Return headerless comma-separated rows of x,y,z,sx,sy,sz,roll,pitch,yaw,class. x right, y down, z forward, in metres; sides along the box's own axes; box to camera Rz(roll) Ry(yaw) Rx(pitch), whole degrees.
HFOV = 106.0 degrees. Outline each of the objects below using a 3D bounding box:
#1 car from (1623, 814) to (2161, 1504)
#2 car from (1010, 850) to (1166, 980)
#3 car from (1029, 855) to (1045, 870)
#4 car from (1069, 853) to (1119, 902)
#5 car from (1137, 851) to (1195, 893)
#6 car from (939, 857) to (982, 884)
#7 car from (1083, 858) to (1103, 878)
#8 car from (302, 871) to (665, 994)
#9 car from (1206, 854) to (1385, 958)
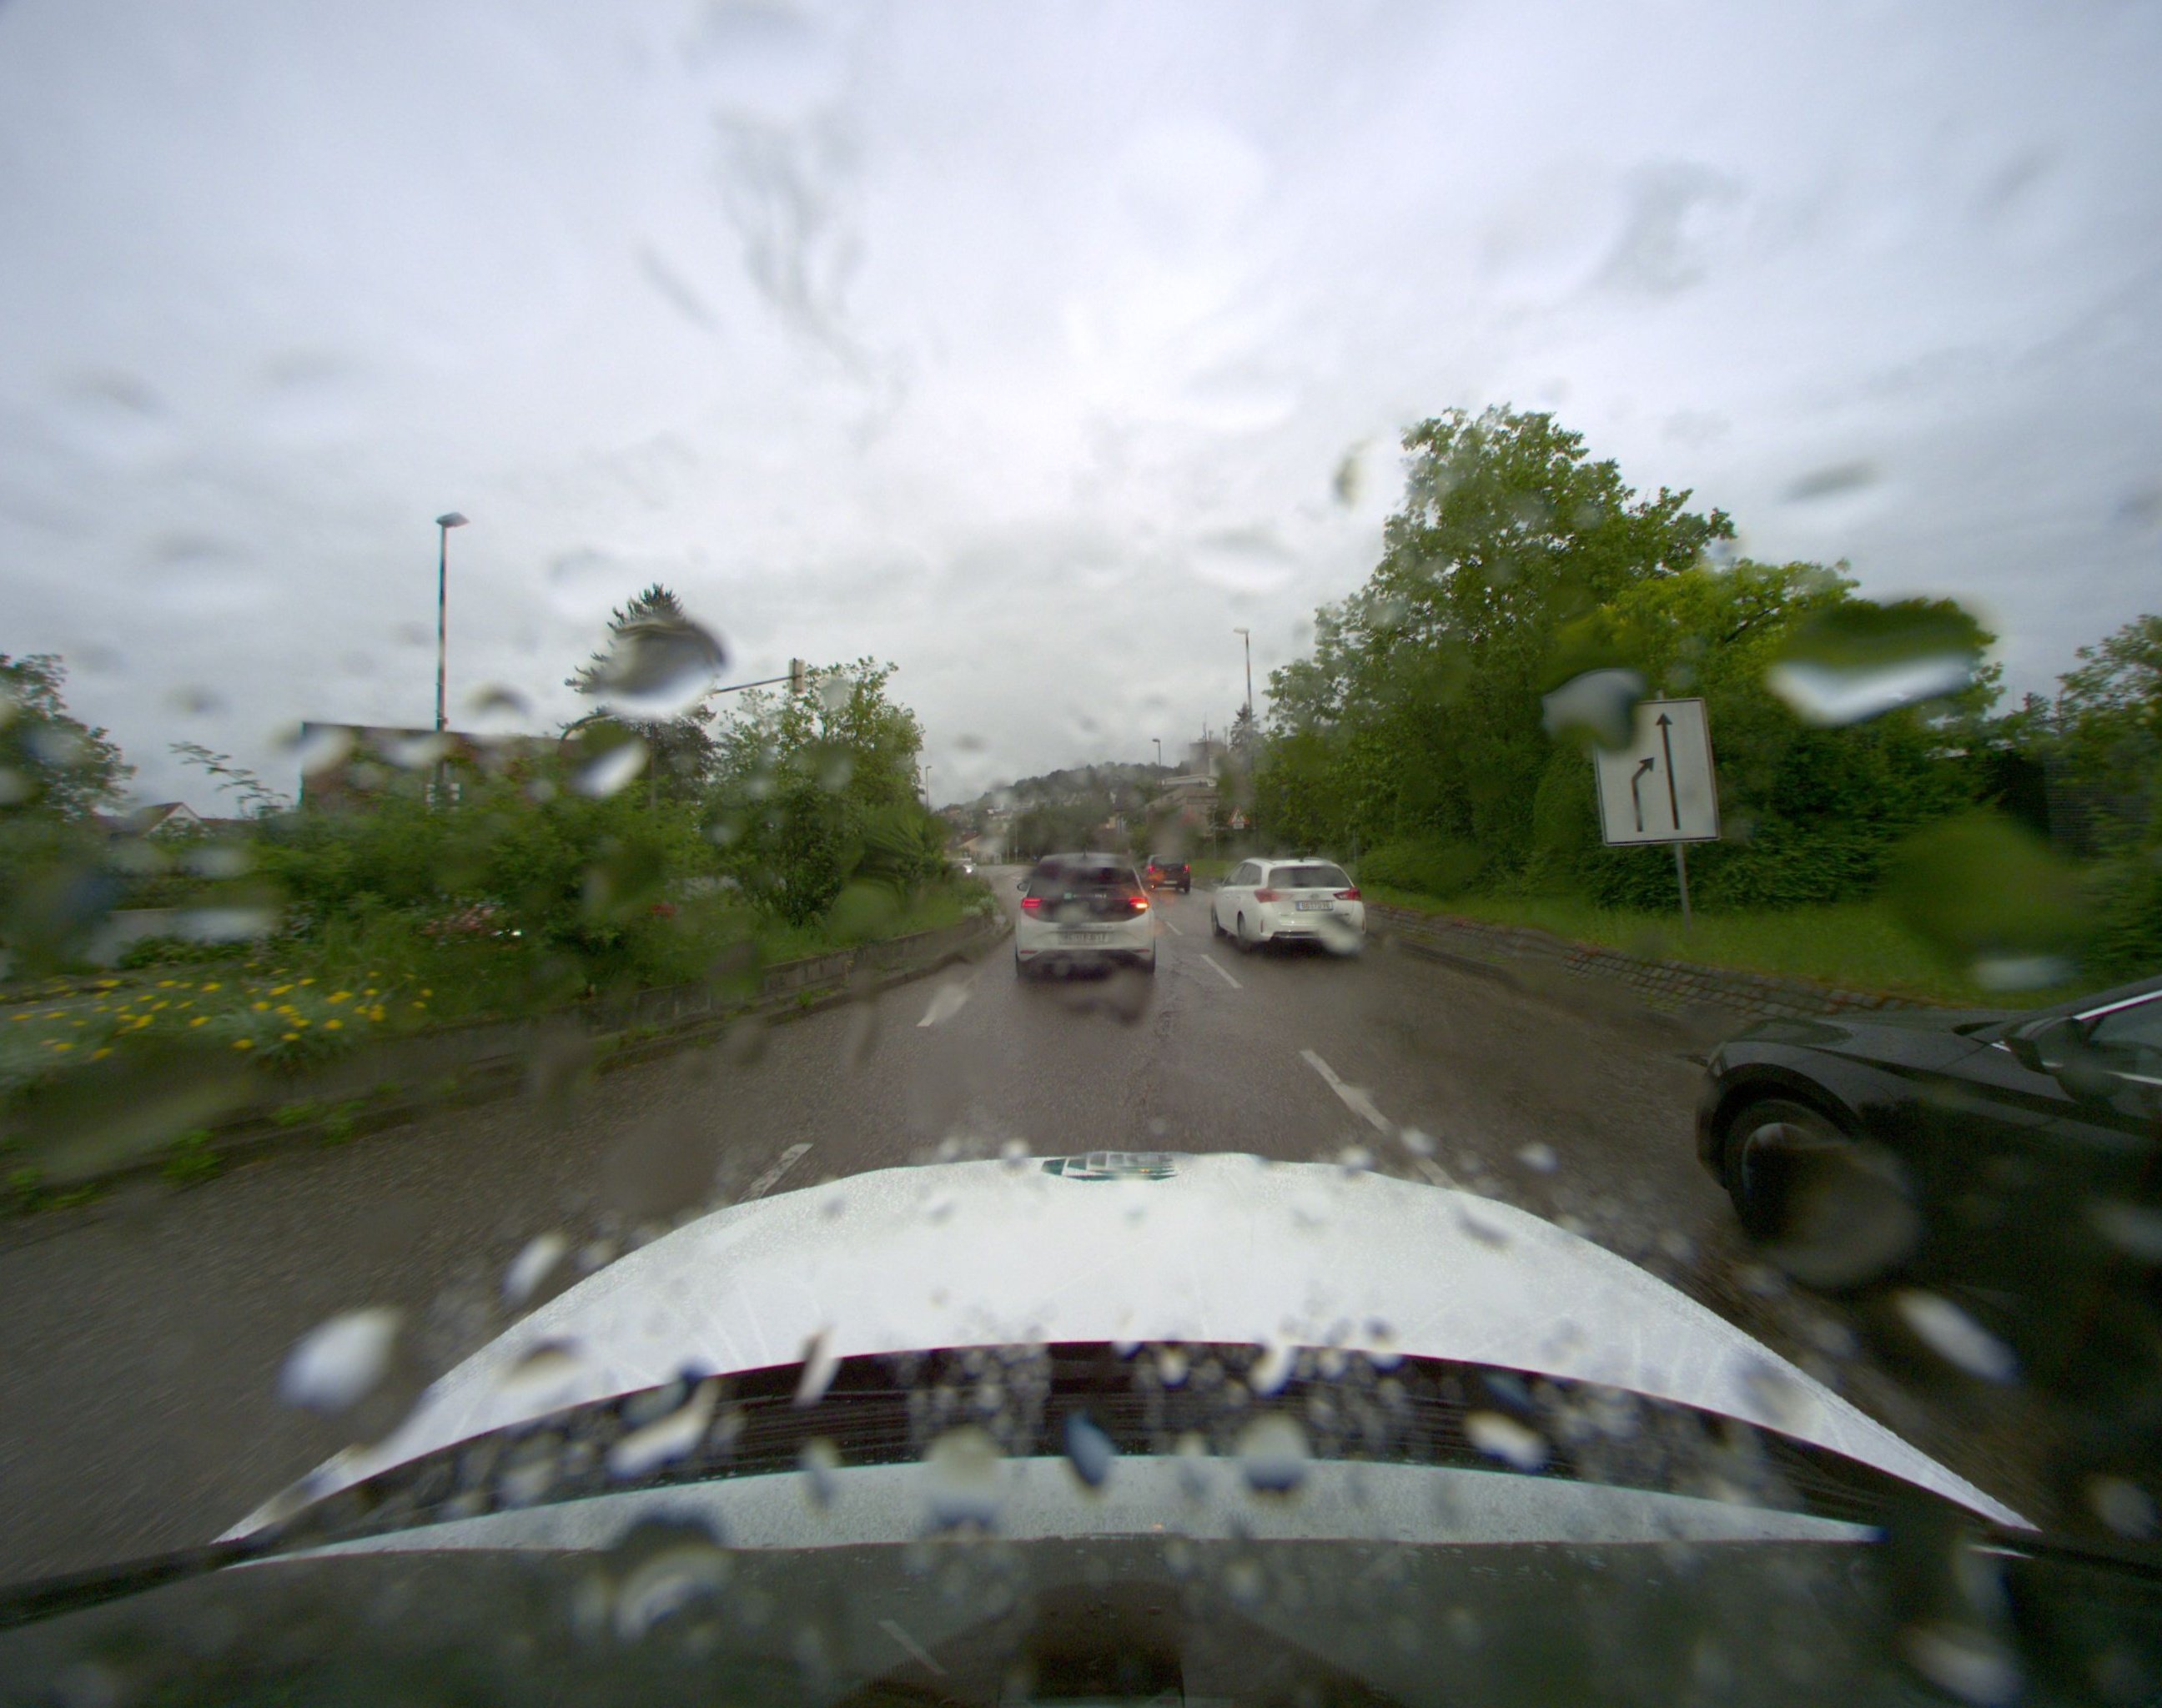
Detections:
3.336,0.676,1.312,1.947,1.507,4.609,1,-1,1,car
0.142,0.757,11.669,1.822,1.500,4.169,-1,-1,2,car
-5.867,1.124,108.536,1.987,2.014,3.998,0,-1,0,car
0.374,0.754,27.919,1.562,1.530,3.998,-1,0,-1,car
3.338,0.714,32.653,1.986,1.453,3.772,-4,-1,2,car
-7.902,1.066,53.742,1.987,1.662,4.598,-2,-1,1,car
1.252,1.463,84.096,1.986,2.014,4.001,0,-1,2,car
-8.275,0.983,11.950,1.987,1.414,4.431,-1,-1,1,car
3.306,0.760,13.451,1.842,1.410,4.301,-1,-1,0,car
